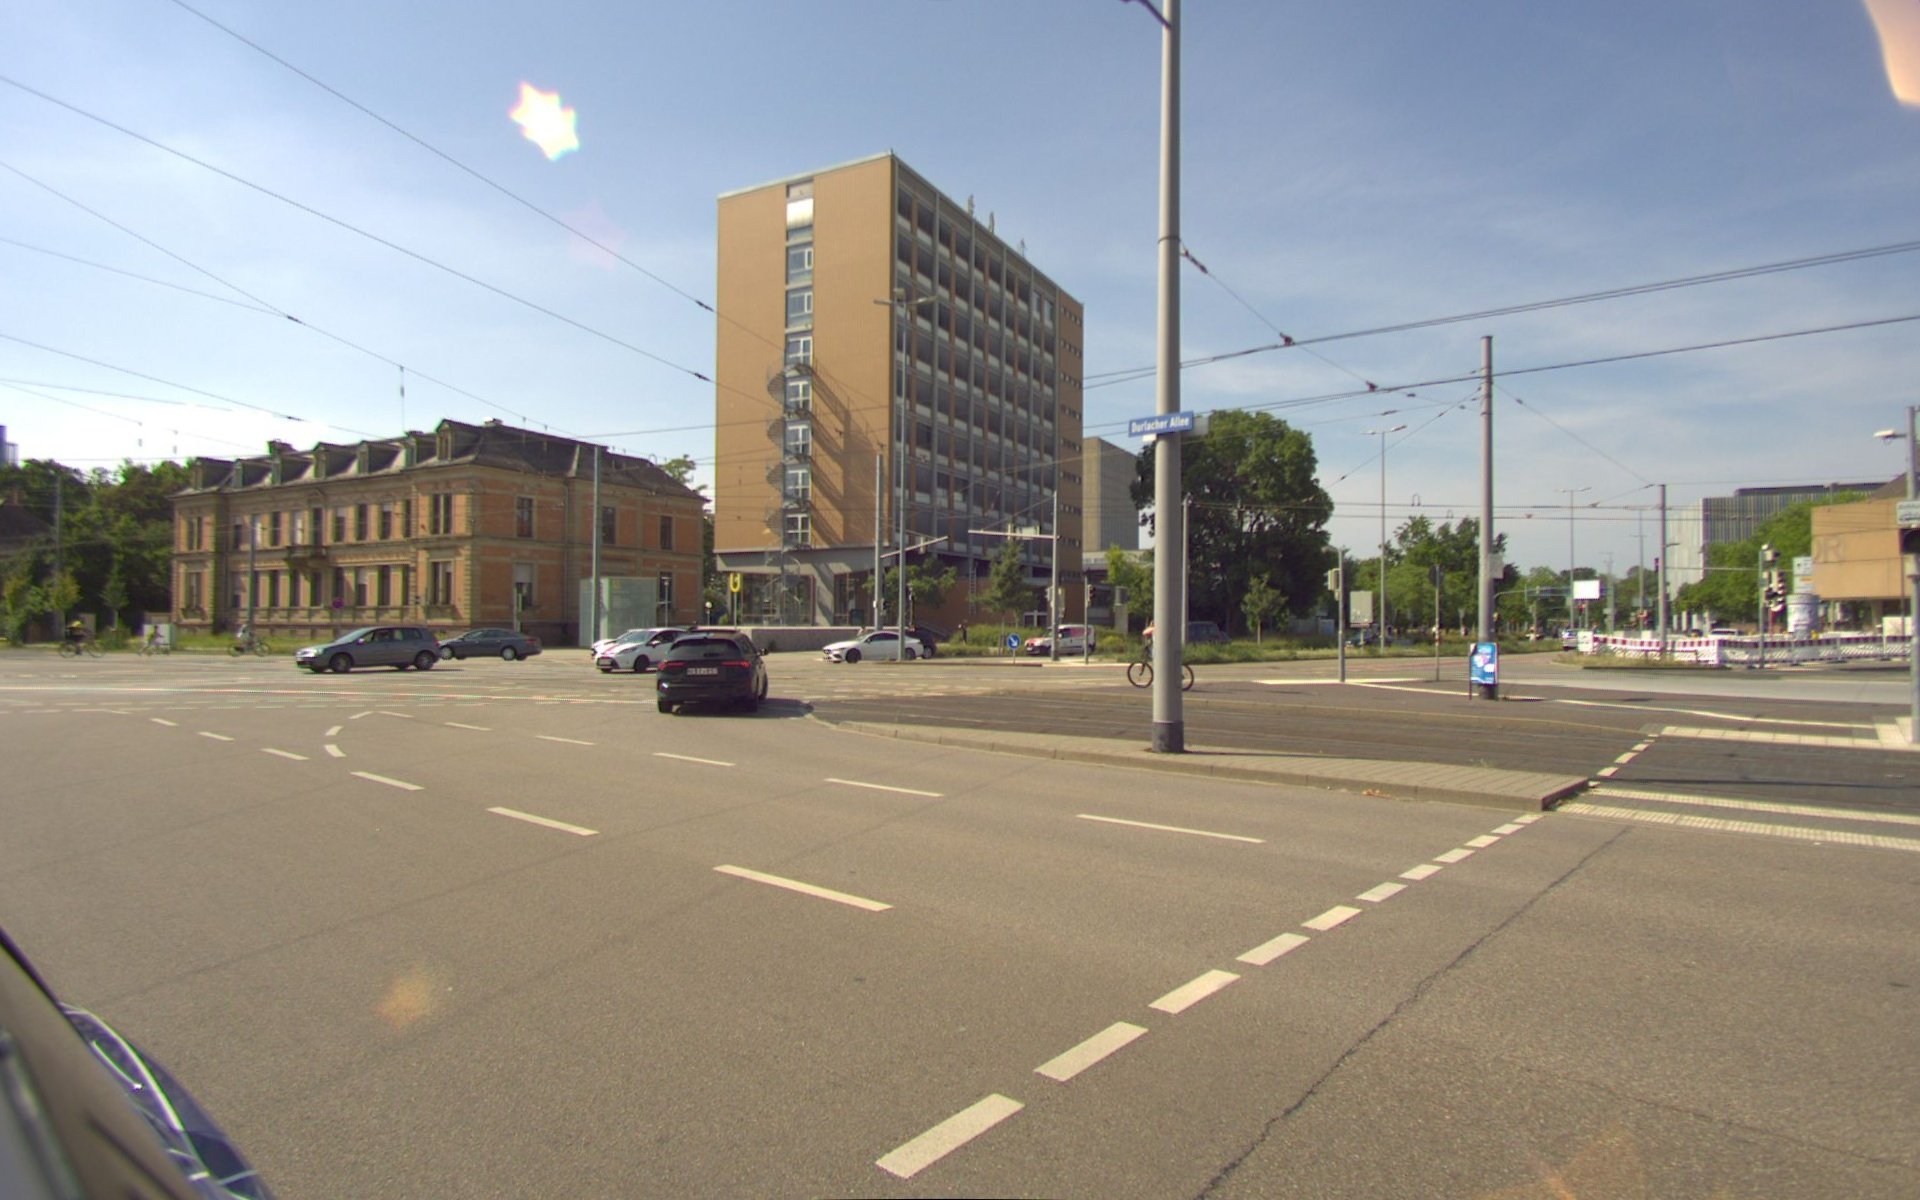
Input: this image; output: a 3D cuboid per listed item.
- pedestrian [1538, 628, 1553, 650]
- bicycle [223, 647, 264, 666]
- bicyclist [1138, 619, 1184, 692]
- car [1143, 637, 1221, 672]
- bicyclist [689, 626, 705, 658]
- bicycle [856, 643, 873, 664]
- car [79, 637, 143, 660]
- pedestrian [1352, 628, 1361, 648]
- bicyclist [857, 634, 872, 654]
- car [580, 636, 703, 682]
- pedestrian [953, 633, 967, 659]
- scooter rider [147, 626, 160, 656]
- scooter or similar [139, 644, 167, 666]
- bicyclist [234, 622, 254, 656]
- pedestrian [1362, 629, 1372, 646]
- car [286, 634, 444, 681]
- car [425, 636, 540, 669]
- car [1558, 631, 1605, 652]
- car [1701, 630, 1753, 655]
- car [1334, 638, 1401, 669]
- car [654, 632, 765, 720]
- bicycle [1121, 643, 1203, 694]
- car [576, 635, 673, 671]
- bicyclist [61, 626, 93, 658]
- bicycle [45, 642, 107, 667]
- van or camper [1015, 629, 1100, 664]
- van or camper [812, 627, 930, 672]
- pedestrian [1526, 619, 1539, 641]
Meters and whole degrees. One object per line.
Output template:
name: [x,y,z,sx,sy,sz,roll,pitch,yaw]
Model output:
pedestrian: [44.729,3.004,77.307,0.739,1.686,0.646,1,-2,-30]
bicycle: [-34.556,2.729,48.833,1.559,0.872,0.503,1,-4,-27]
bicyclist: [4.855,1.315,24.415,0.740,1.697,0.777,1,-1,-42]
car: [11.965,2.885,54.421,3.933,1.807,1.969,1,-2,-35]
bicyclist: [-13.646,2.180,52.506,0.770,1.636,0.670,0,-1,-8]
bicycle: [-5.144,2.857,54.436,0.707,1.023,1.918,0,0,1]
car: [-50.466,2.884,60.149,3.433,1.323,1.658,-1,-2,25]
pedestrian: [35.442,3.368,90.370,0.643,1.777,0.469,0,-1,37]
bicyclist: [-5.144,2.344,54.458,0.707,1.036,0.916,0,0,2]
car: [-10.357,1.887,33.206,1.648,1.425,3.827,-1,-2,27]
pedestrian: [0.020,3.100,68.070,0.719,1.676,0.595,0,-1,-32]
scooter rider: [-38.666,1.968,48.511,0.400,1.408,0.590,0,-4,-32]
scooter or similar: [-38.653,2.629,48.464,0.975,0.983,0.590,0,-4,-32]
bicyclist: [-34.583,1.892,48.887,0.638,1.633,0.503,1,-4,-27]
pedestrian: [36.144,3.332,89.860,0.643,1.457,0.562,0,-1,37]
car: [-19.147,1.805,32.713,1.649,1.435,4.067,-2,-3,38]
car: [-21.614,2.370,45.960,4.457,1.446,1.639,0,-2,-8]
car: [40.921,2.749,66.604,3.939,1.296,1.601,1,-4,-43]
car: [46.479,2.560,61.295,3.939,1.431,1.805,1,-4,-43]
car: [25.835,3.344,64.133,4.358,1.896,2.004,2,-2,-39]
car: [-4.886,1.379,19.327,1.730,1.467,4.436,1,-3,-18]
bicycle: [4.857,1.628,24.389,0.740,1.092,1.851,1,-1,-42]
car: [-14.726,2.306,44.485,3.698,1.486,1.686,1,-2,-37]
bicyclist: [-40.594,1.945,46.532,0.894,1.431,0.687,0,-4,-21]
bicycle: [-40.585,2.518,46.488,1.991,1.077,0.687,0,-4,-21]
van or camper: [5.569,2.624,57.356,4.840,1.902,1.735,1,-2,-35]
van or camper: [-3.918,2.156,44.692,4.838,1.902,1.926,1,-2,-30]
pedestrian: [43.950,2.331,77.737,0.739,1.686,0.543,1,-2,-32]
